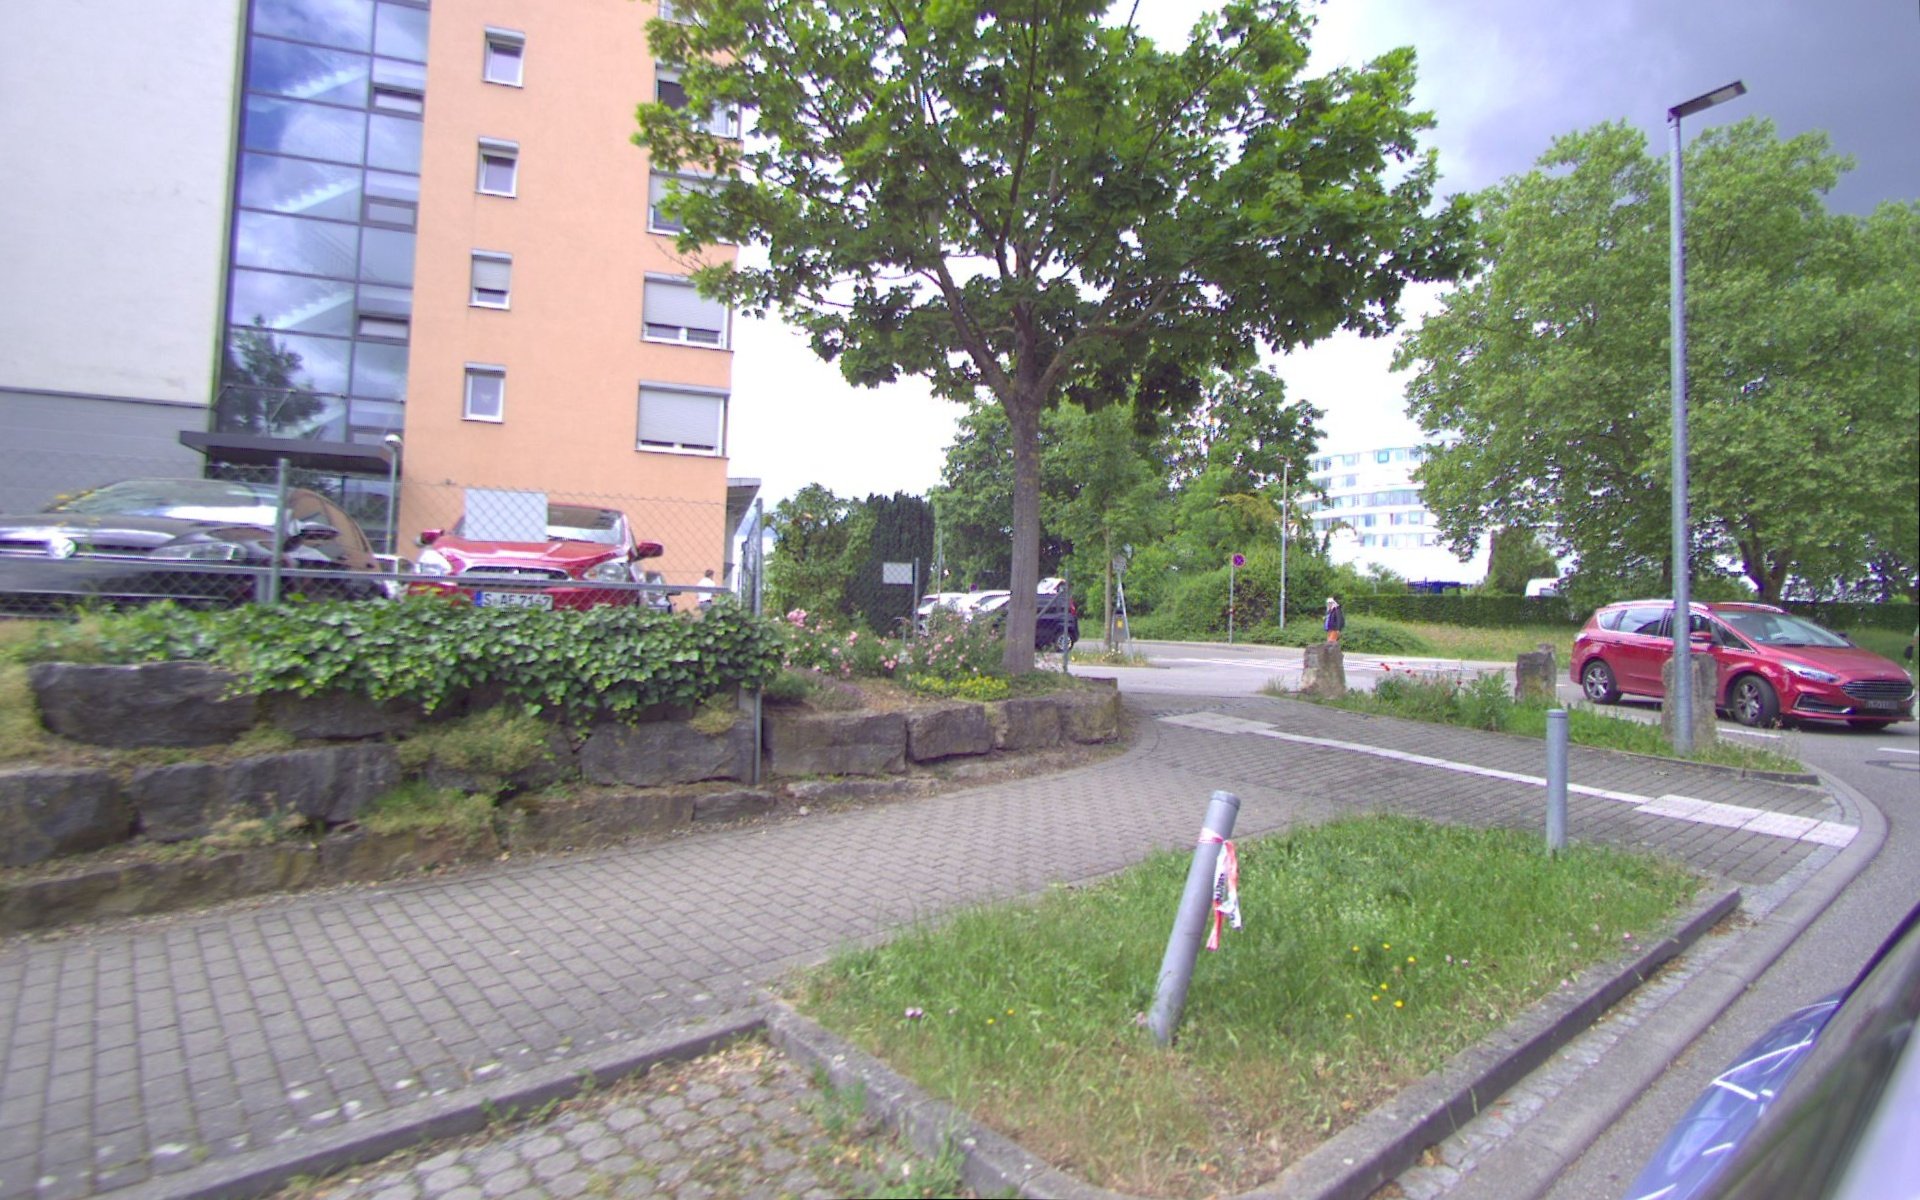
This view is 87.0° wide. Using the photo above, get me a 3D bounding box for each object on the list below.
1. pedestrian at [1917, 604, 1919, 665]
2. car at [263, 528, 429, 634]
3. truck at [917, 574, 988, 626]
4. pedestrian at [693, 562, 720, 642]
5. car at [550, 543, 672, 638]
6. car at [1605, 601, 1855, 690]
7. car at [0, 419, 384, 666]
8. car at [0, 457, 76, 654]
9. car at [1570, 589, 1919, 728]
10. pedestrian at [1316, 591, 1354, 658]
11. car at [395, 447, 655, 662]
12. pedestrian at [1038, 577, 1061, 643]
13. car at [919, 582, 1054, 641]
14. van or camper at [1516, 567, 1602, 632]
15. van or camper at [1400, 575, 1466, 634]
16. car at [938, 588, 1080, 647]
[{"bbox_3d":[26.753,0.949,27.521,0.580,1.678,0.873,1,-3,-24],"label":"pedestrian"},{"bbox_3d":[-10.620,-0.229,17.808,1.657,1.614,4.139,2,-2,-20],"label":"car"},{"bbox_3d":[-0.512,0.077,55.839,2.024,2.641,5.818,1,-2,-20],"label":"truck"},{"bbox_3d":[-6.026,0.051,24.030,0.496,1.877,0.480,2,-3,-26],"label":"pedestrian"},{"bbox_3d":[-6.535,-0.092,19.334,1.719,1.537,4.060,3,-3,-13],"label":"car"},{"bbox_3d":[15.804,0.861,20.927,3.991,1.638,1.697,1,0,41],"label":"car"},{"bbox_3d":[-5.842,-0.273,7.800,1.649,1.440,3.806,1,-2,-18],"label":"car"},{"bbox_3d":[-7.967,-0.384,6.825,1.649,1.517,3.668,1,-2,-18],"label":"car"},{"bbox_3d":[11.210,0.715,14.603,1.942,1.665,4.537,1,0,-2],"label":"car"},{"bbox_3d":[9.641,0.613,26.017,0.832,1.686,0.609,1,0,27],"label":"pedestrian"},{"bbox_3d":[-3.570,-0.239,8.838,1.649,1.458,3.668,1,-2,-18],"label":"car"},{"bbox_3d":[2.528,0.289,28.745,0.474,1.836,0.584,1,-3,-16],"label":"pedestrian"},{"bbox_3d":[0.772,0.342,30.078,3.697,1.680,1.576,1,0,-17],"label":"car"},{"bbox_3d":[27.521,0.063,46.658,2.083,2.835,4.460,0,-2,13],"label":"van or camper"},{"bbox_3d":[23.813,0.278,51.142,2.083,2.835,4.460,0,-2,13],"label":"van or camper"},{"bbox_3d":[1.291,0.435,26.946,3.452,1.494,1.508,0,1,-17],"label":"car"}]
